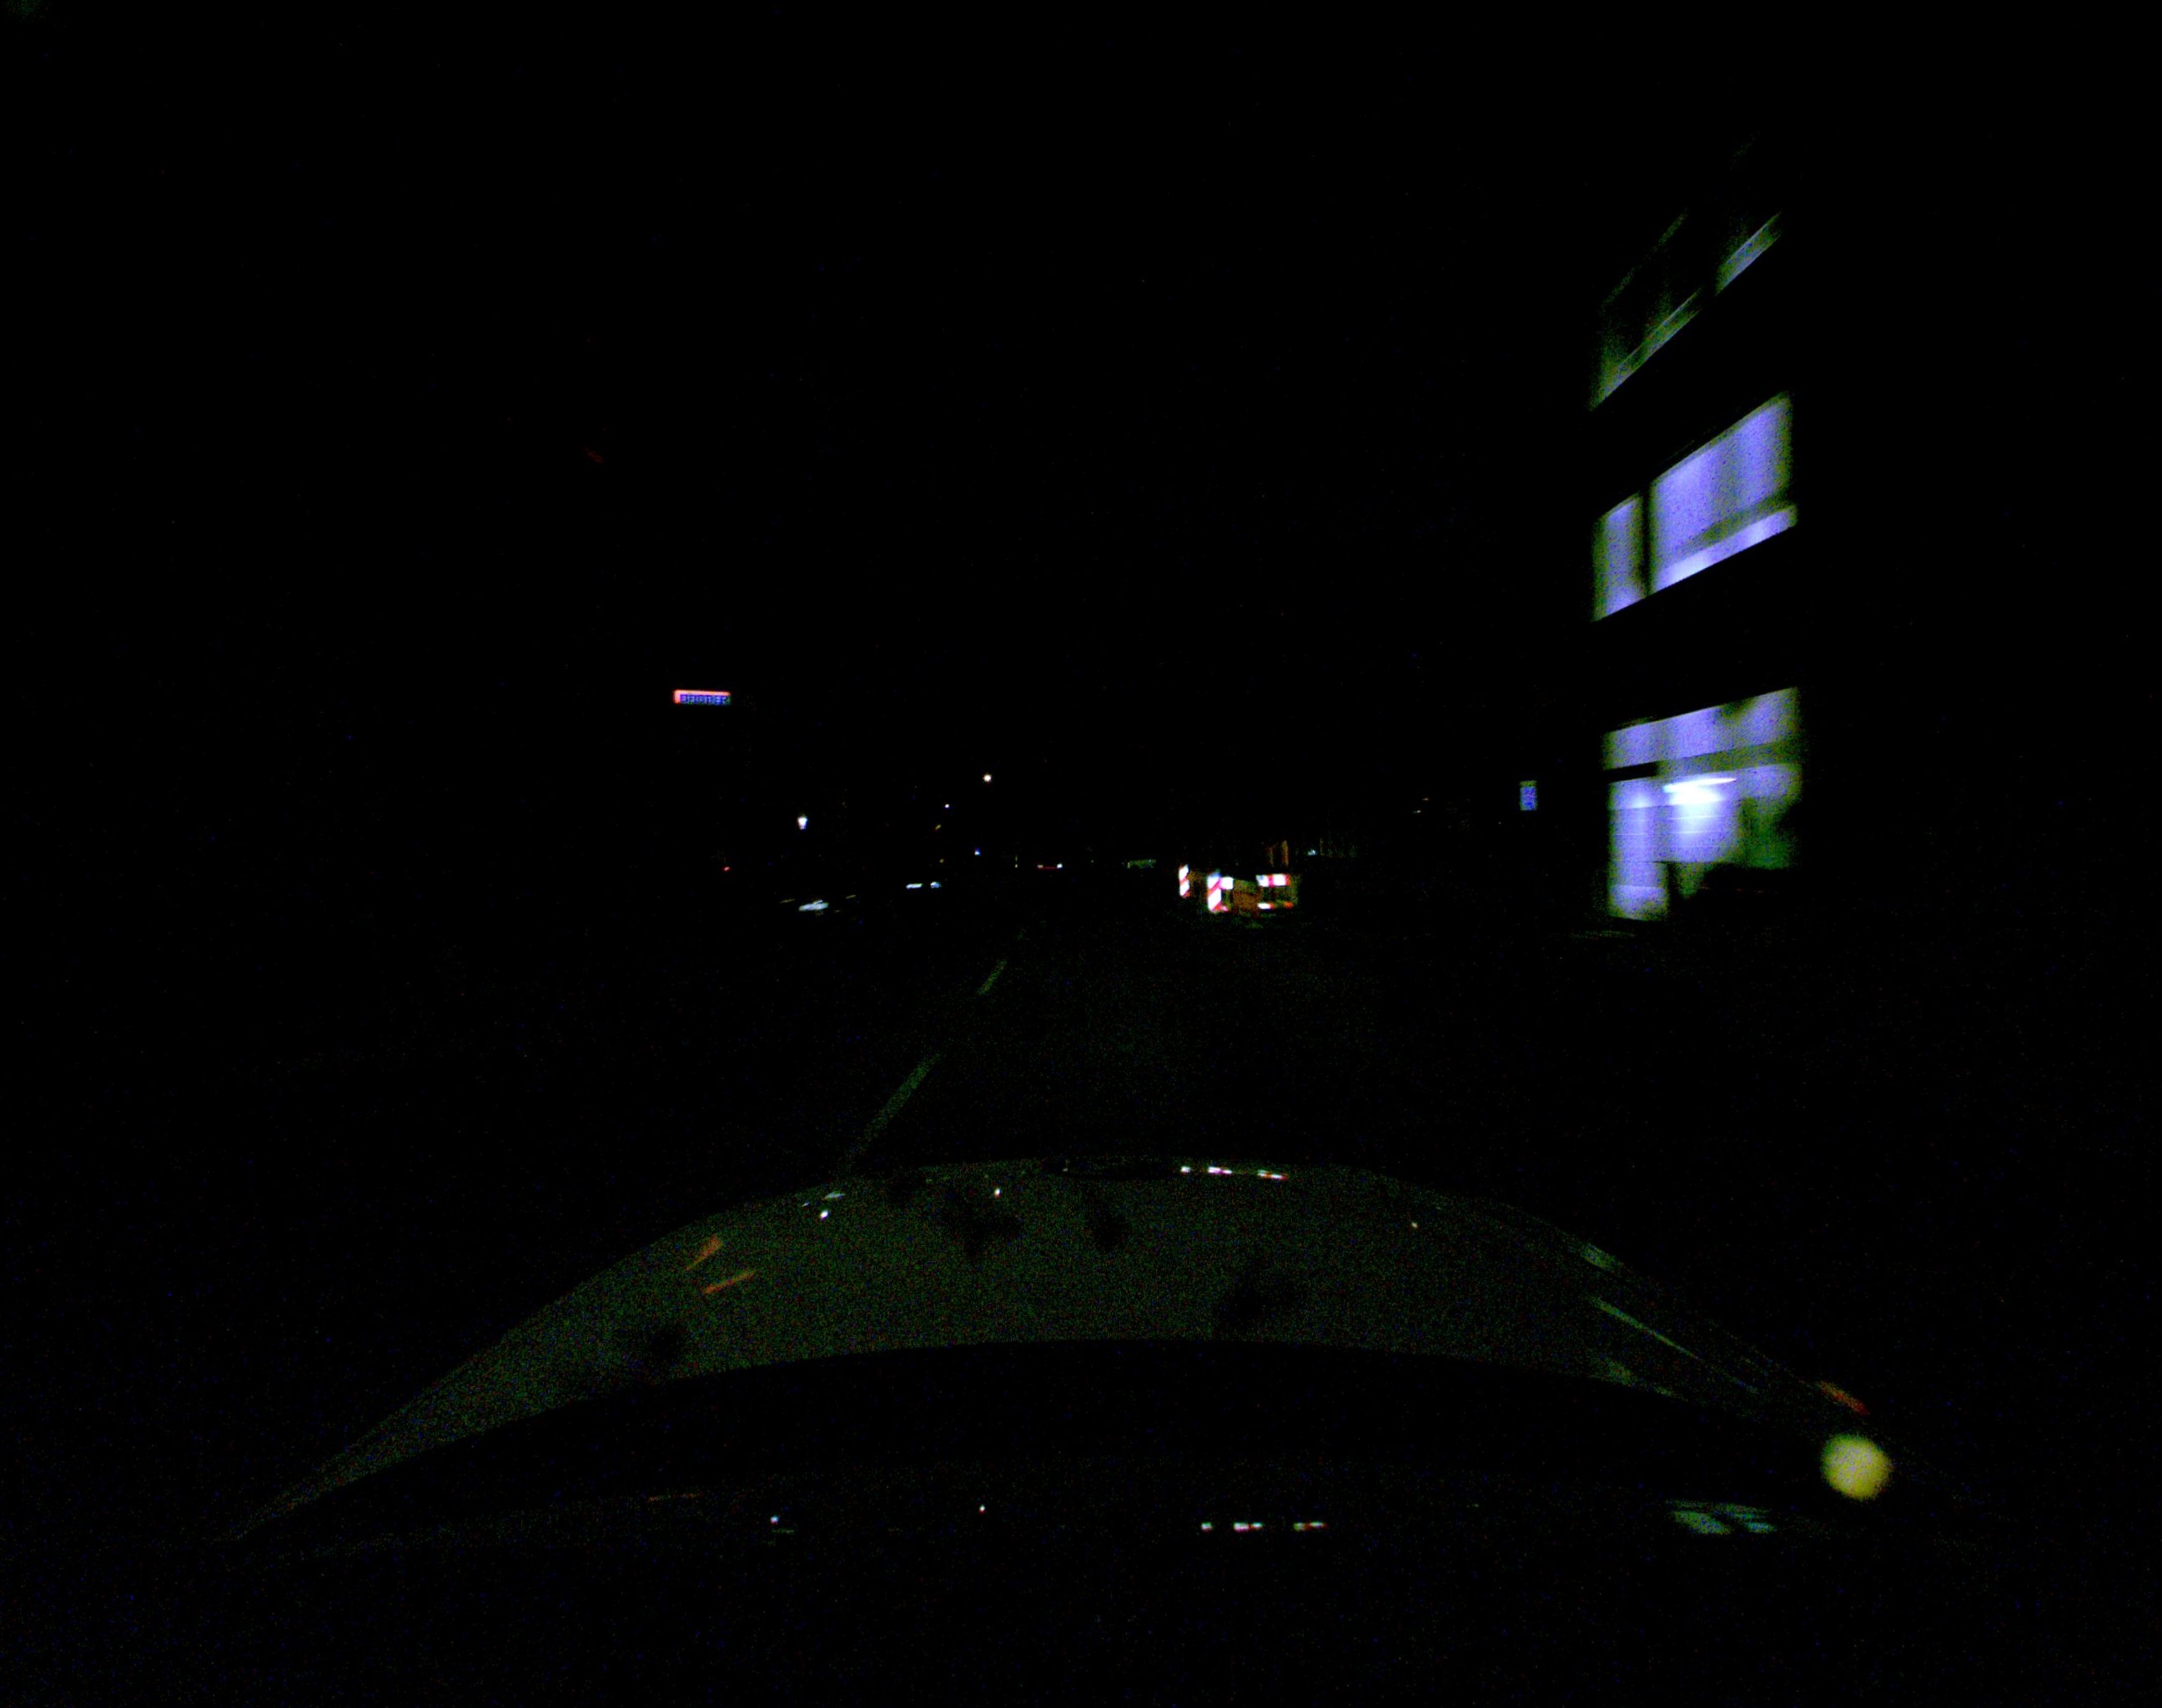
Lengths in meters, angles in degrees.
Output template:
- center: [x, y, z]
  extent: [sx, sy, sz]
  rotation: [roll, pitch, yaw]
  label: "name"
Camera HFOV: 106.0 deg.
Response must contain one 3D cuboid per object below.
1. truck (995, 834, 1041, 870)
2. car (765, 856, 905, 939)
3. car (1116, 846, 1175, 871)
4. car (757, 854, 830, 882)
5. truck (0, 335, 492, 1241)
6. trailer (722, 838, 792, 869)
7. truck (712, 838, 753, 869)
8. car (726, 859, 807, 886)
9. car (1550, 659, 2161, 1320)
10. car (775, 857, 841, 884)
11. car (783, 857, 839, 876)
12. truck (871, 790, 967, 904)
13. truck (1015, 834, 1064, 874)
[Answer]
- center: [-7.304, -0.201, 92.904]
  extent: [2.763, 3.783, 10.161]
  rotation: [-2, 0, -18]
  label: "truck"
- center: [-5.842, 0.936, 20.093]
  extent: [1.938, 1.717, 5.195]
  rotation: [-2, 0, -1]
  label: "car"
- center: [5.198, 0.352, 65.814]
  extent: [4.340, 1.646, 1.880]
  rotation: [-4, 1, -19]
  label: "car"
- center: [-20.184, 0.985, 57.377]
  extent: [4.614, 1.816, 1.953]
  rotation: [-1, 0, -14]
  label: "car"
- center: [-6.187, -0.248, 1.584]
  extent: [2.736, 4.033, 9.562]
  rotation: [-4, 0, 1]
  label: "truck"
- center: [-46.075, -0.021, 116.543]
  extent: [3.044, 4.148, 15.020]
  rotation: [0, 0, 4]
  label: "trailer"
- center: [-46.645, -0.073, 109.077]
  extent: [3.044, 4.148, 4.942]
  rotation: [0, 0, 4]
  label: "truck"
- center: [-19.294, 1.108, 50.124]
  extent: [4.411, 1.482, 1.883]
  rotation: [-1, 0, -14]
  label: "car"
- center: [4.298, 0.380, 3.359]
  extent: [1.986, 2.013, 4.914]
  rotation: [-2, 0, 2]
  label: "car"
- center: [-20.179, 1.205, 60.375]
  extent: [4.411, 1.816, 1.953]
  rotation: [-2, 0, -14]
  label: "car"
- center: [-23.077, 1.054, 69.805]
  extent: [4.411, 1.478, 1.842]
  rotation: [-1, 0, -14]
  label: "car"
- center: [-6.652, -0.264, 34.846]
  extent: [2.767, 4.120, 9.327]
  rotation: [-2, 0, -4]
  label: "truck"
- center: [-4.358, 0.053, 83.156]
  extent: [2.763, 3.783, 9.081]
  rotation: [-2, 0, -18]
  label: "truck"
